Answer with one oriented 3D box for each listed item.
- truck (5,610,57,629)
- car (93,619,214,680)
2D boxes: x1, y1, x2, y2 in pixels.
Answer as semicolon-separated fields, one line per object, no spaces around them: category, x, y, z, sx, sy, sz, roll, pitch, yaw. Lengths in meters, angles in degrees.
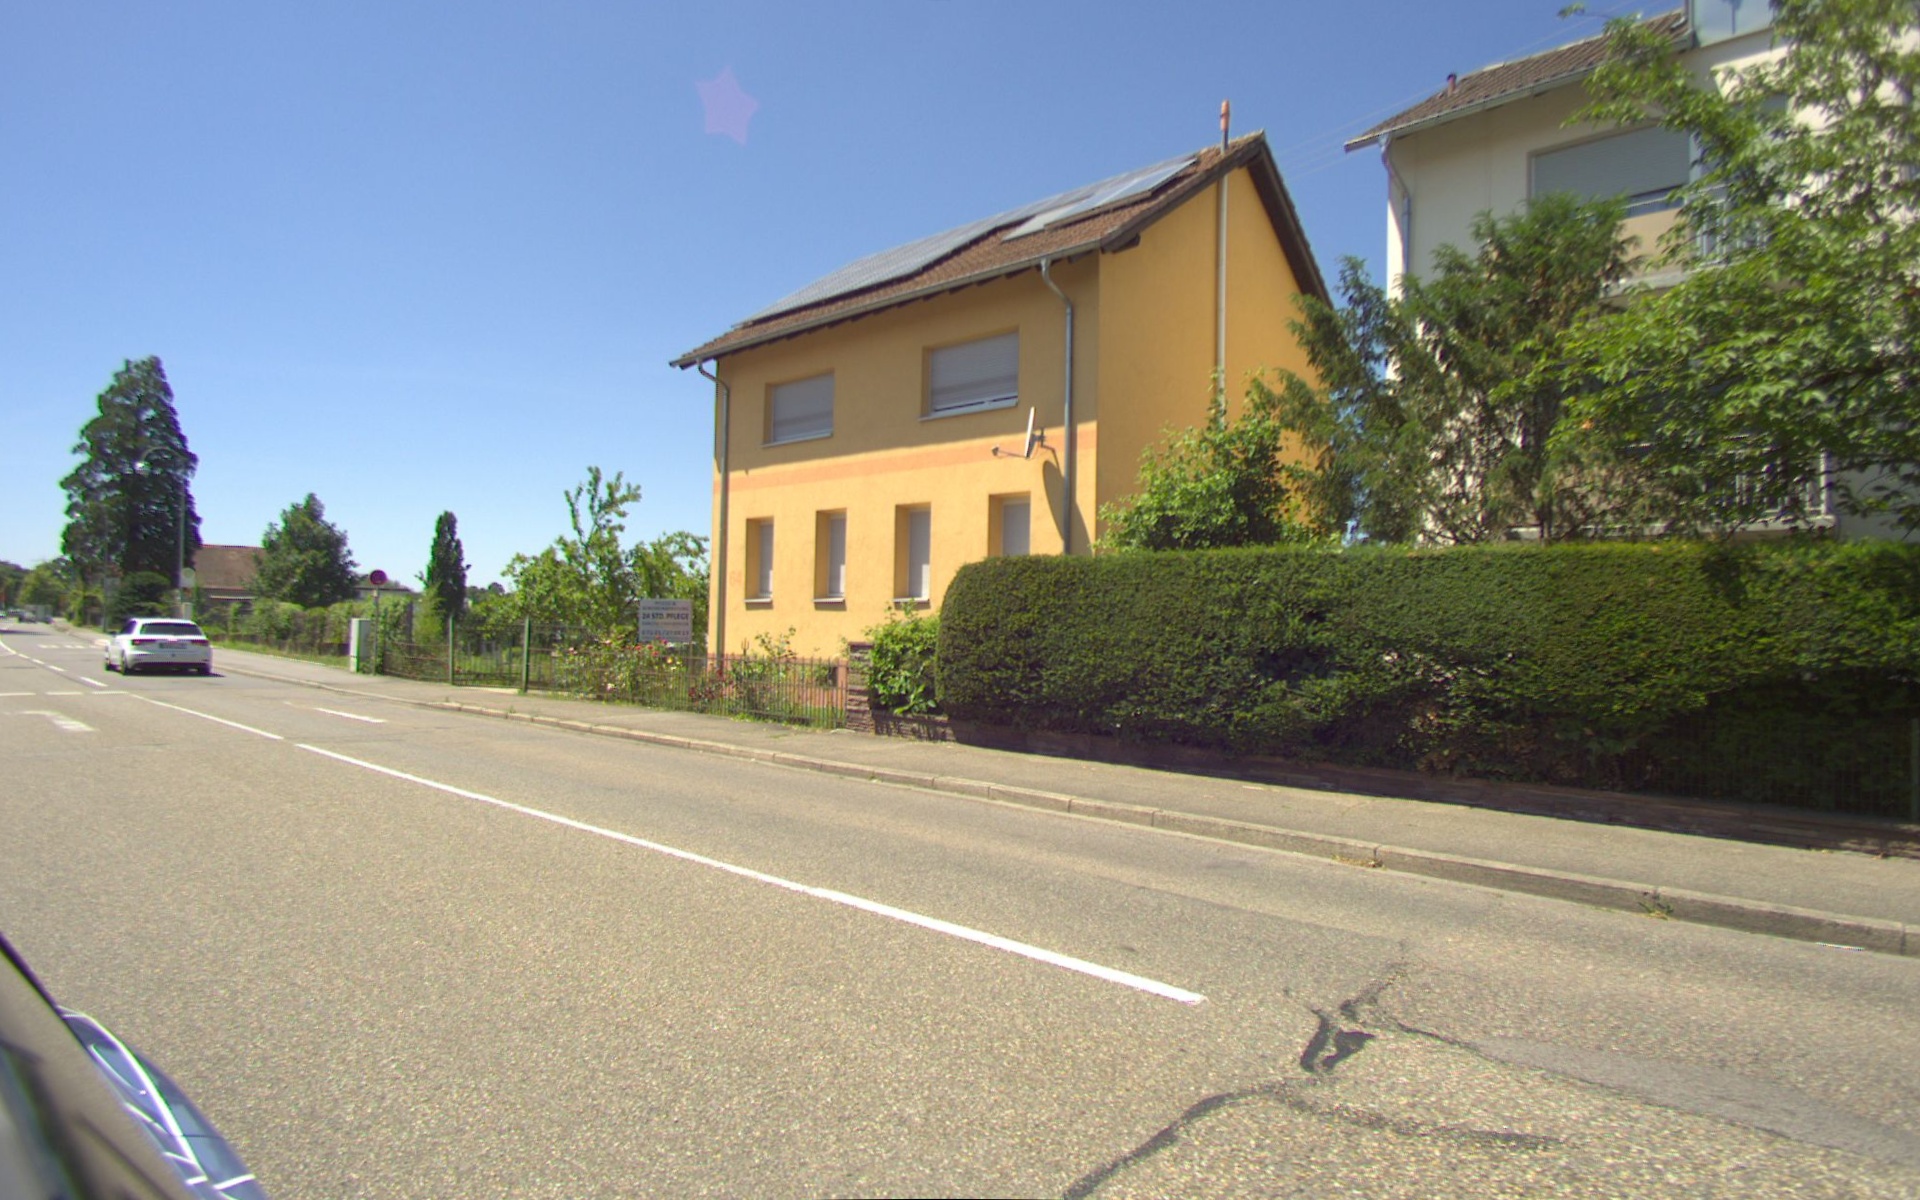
truck;-119.163;2.480;129.837;6.217;2.258;2.604;0;-2;23
car;-20.551;1.232;25.734;4.205;1.383;1.662;-1;-4;42
